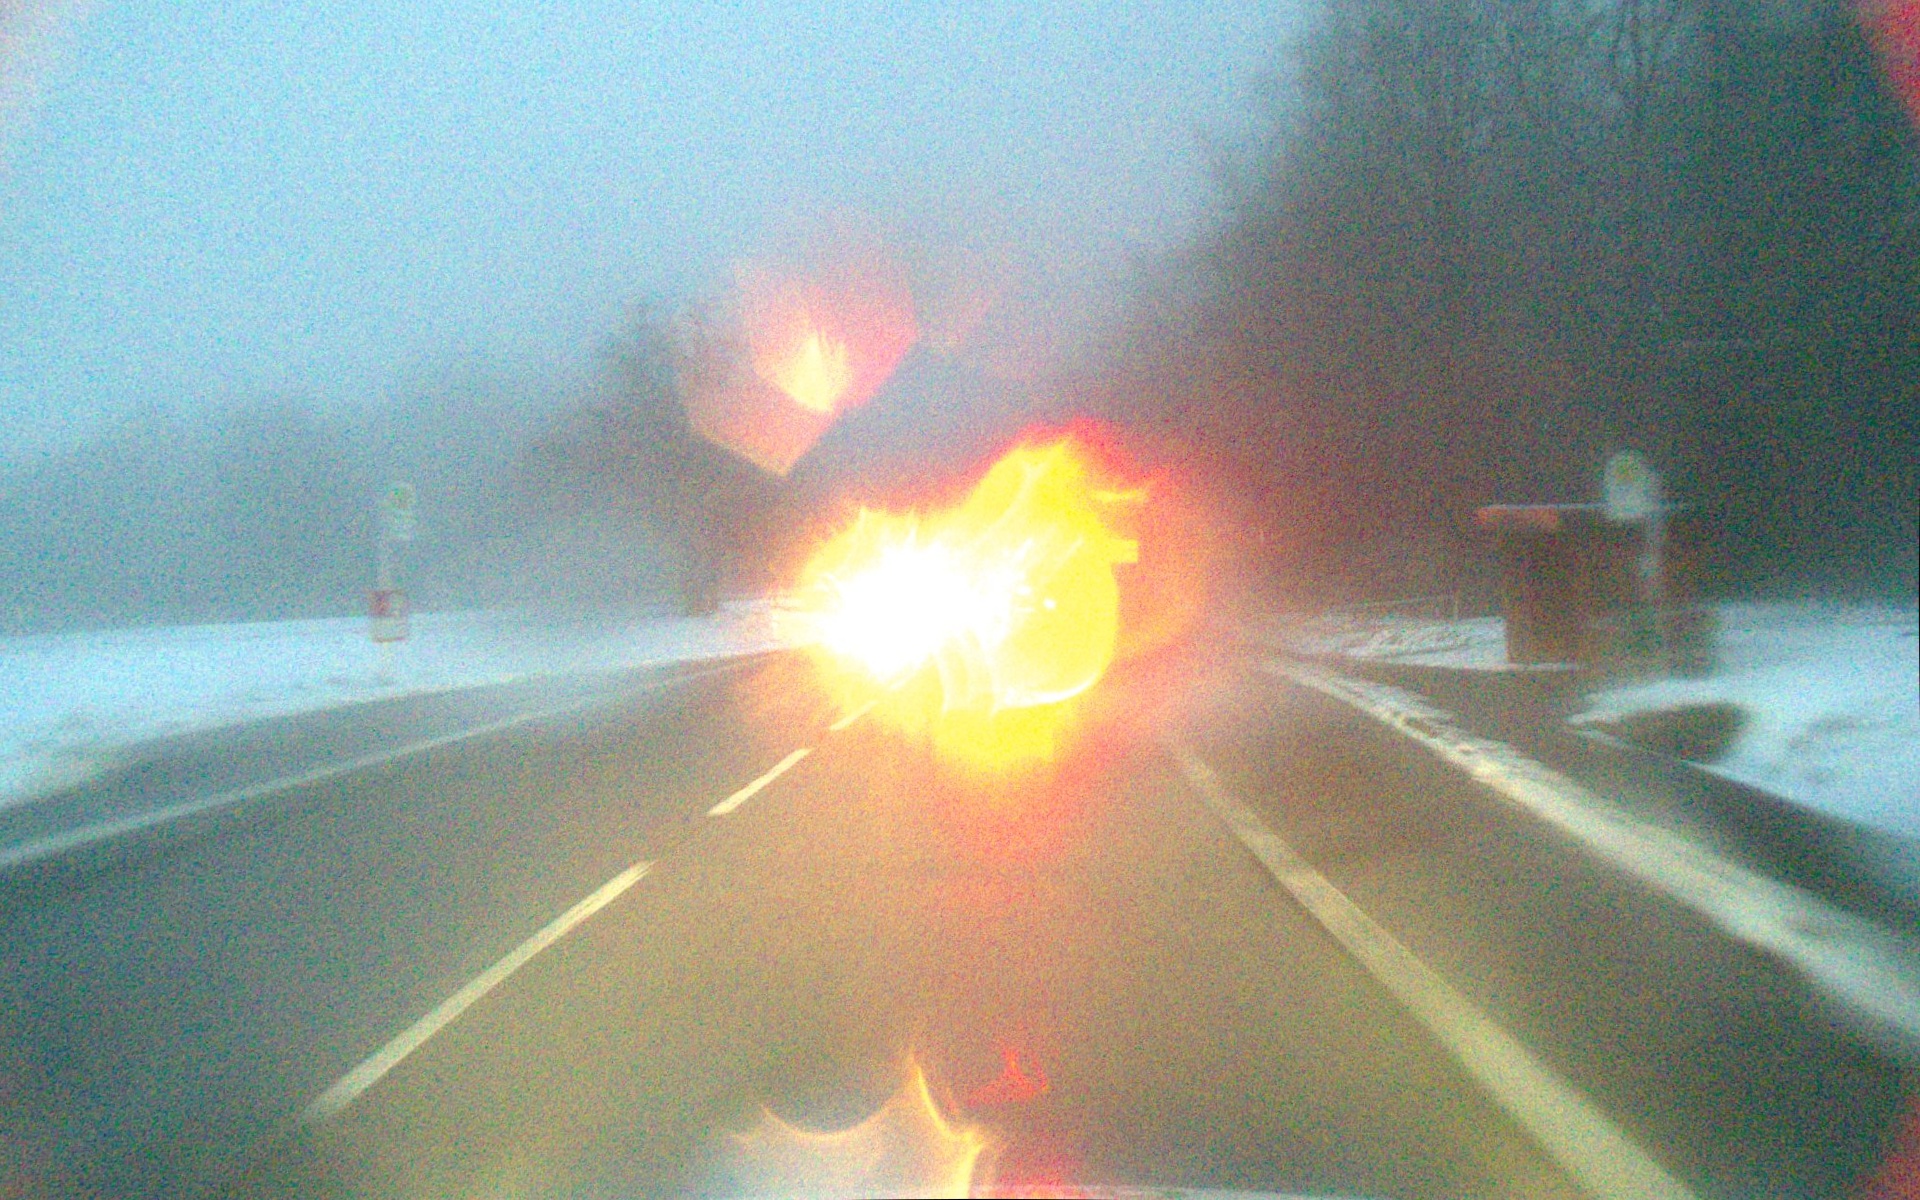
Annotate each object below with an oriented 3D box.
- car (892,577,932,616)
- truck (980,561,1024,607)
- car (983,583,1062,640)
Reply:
[{"bbox_3d":[-2.292,-0.189,78.087,1.717,1.723,4.423,-2,0,-4],"label":"car"},{"bbox_3d":[2.590,-1.021,103.674,2.036,2.794,5.311,-1,1,-7],"label":"truck"},{"bbox_3d":[1.579,0.256,43.017,1.882,1.299,4.001,-1,2,0],"label":"car"}]
